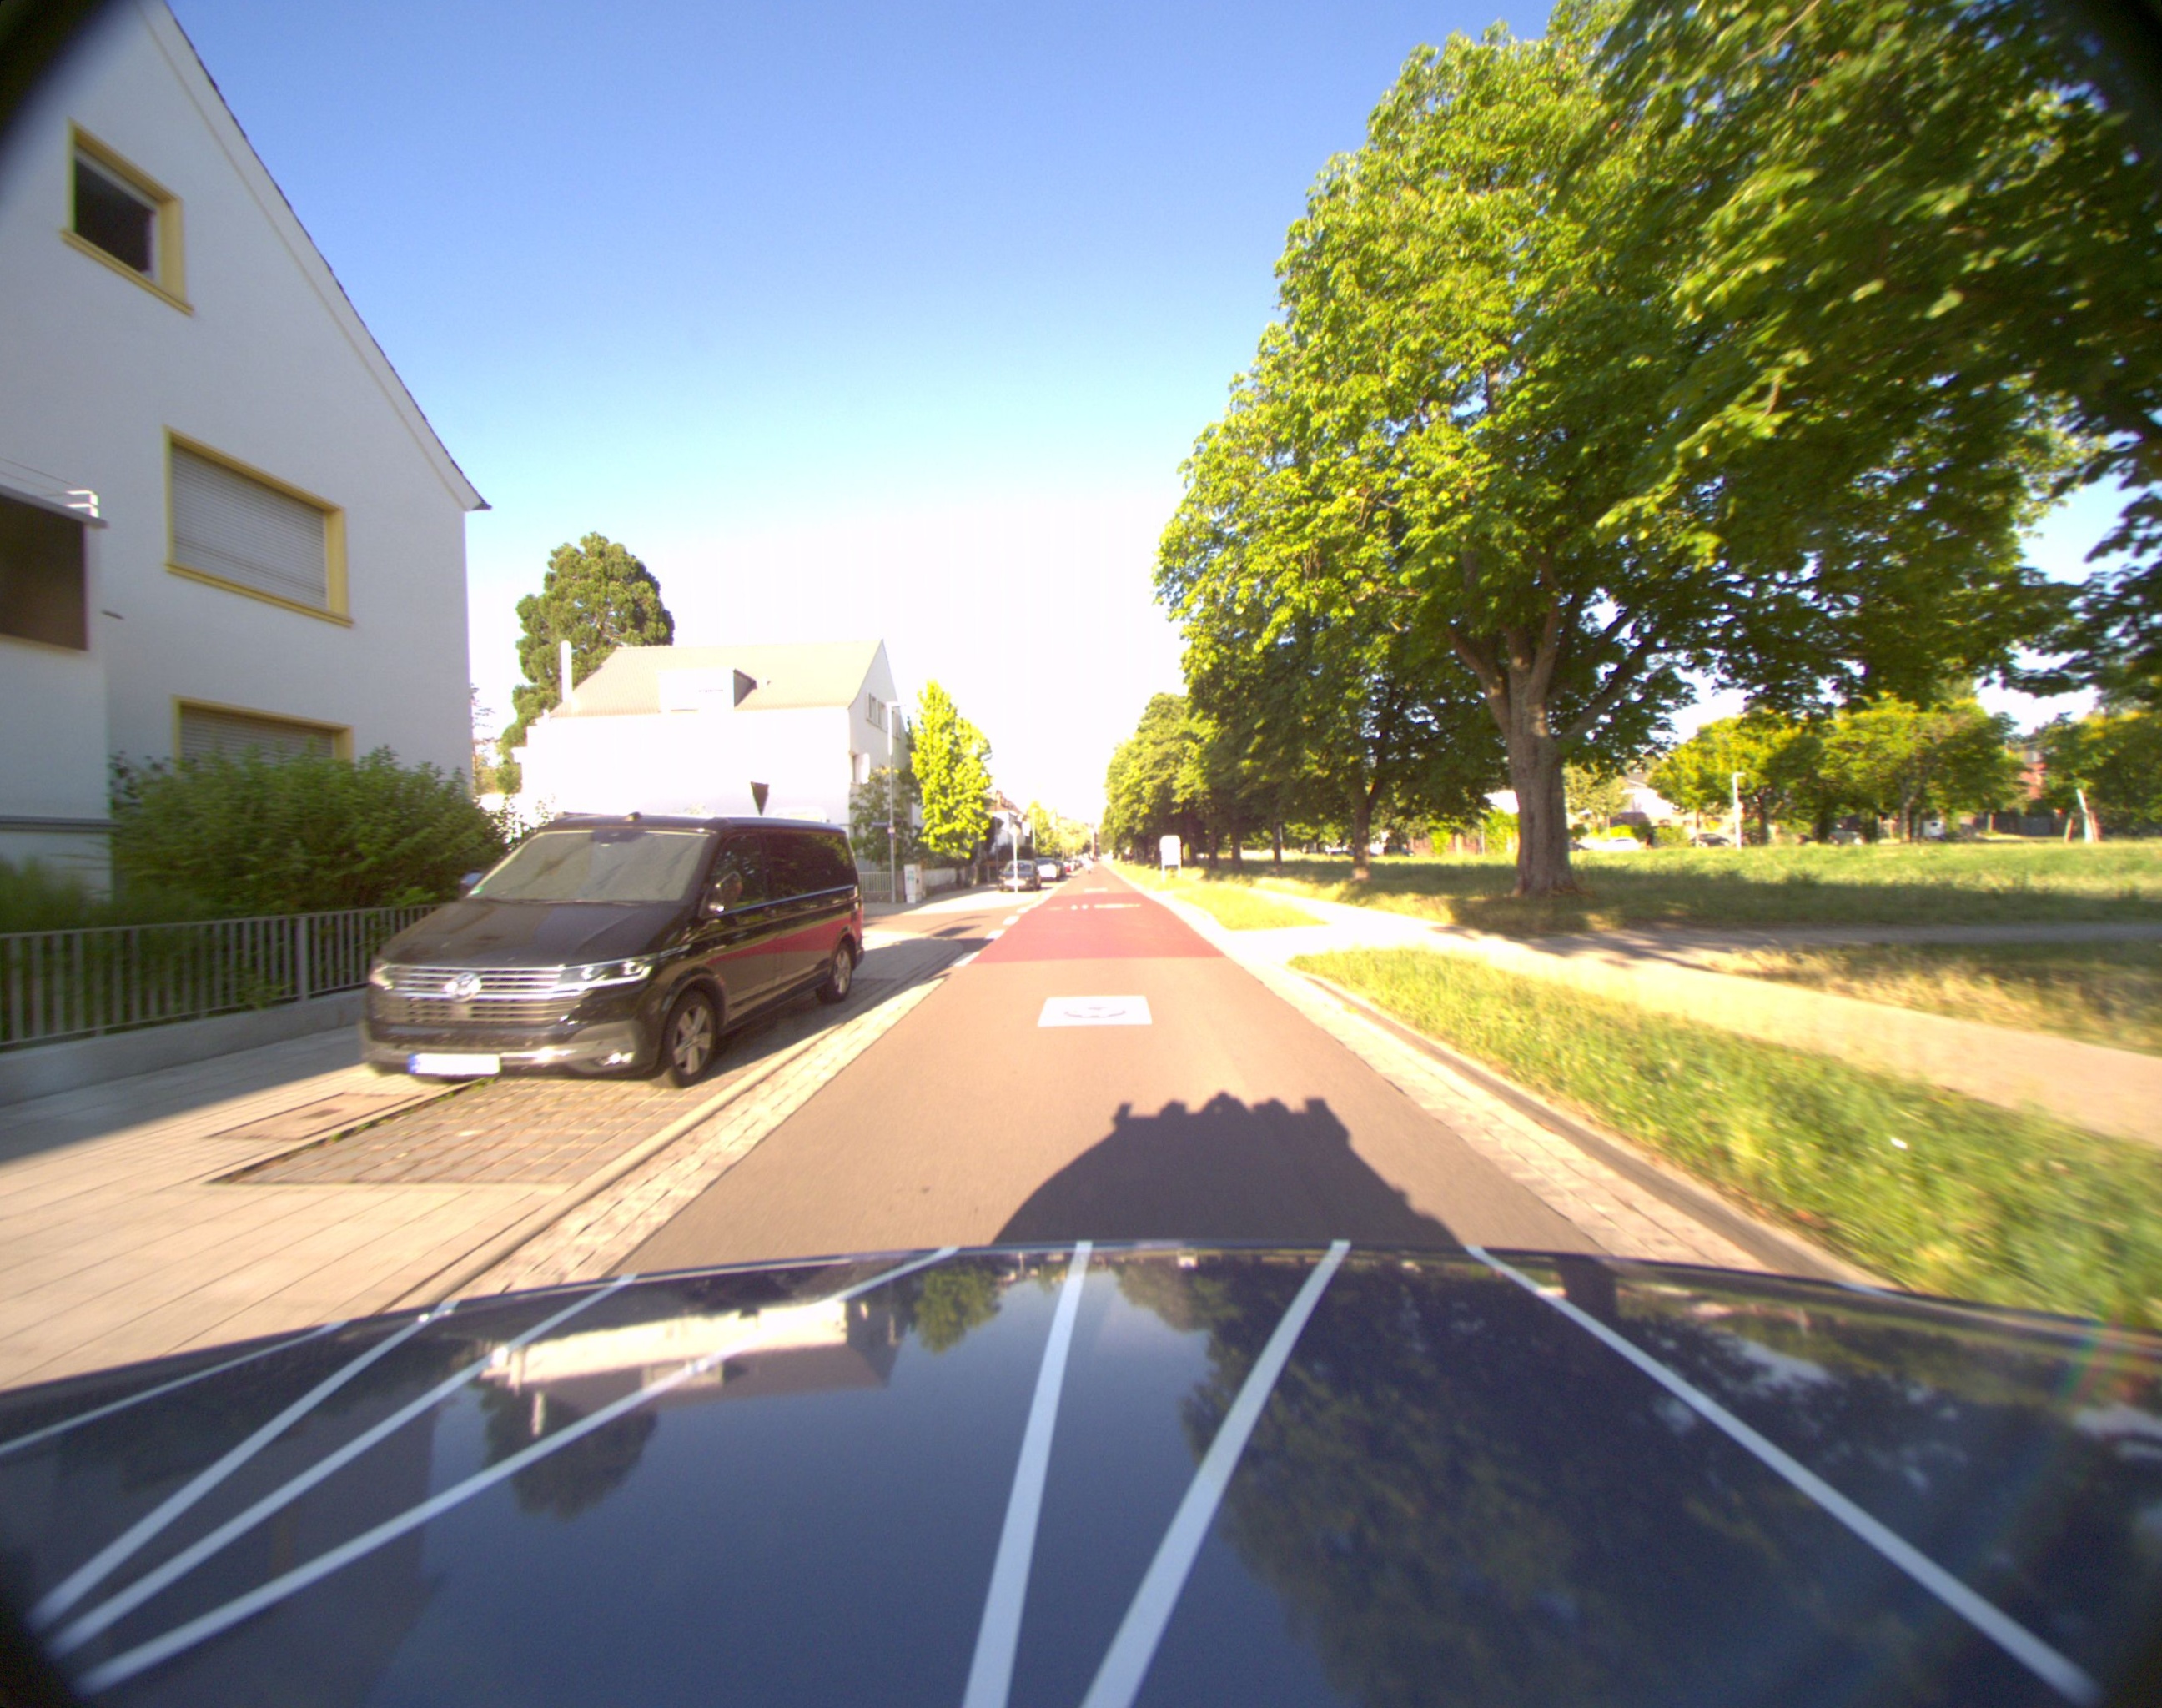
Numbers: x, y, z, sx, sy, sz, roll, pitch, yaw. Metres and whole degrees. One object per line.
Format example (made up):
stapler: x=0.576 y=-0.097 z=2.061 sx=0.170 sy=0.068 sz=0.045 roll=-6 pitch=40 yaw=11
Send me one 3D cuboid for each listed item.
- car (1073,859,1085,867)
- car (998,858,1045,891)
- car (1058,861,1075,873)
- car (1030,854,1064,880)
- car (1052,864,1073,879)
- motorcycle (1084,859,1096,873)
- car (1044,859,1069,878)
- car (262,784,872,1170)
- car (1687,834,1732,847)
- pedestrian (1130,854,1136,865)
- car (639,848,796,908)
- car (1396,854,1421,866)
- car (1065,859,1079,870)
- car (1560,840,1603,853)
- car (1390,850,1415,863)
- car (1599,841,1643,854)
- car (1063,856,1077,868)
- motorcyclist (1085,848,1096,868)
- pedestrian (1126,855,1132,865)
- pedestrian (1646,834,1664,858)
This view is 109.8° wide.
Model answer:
car: x=-0.390 y=1.689 z=140.487 sx=1.843 sy=1.471 sz=3.765 roll=-2 pitch=0 yaw=5
car: x=-2.830 y=1.004 z=36.772 sx=1.798 sy=1.473 sz=4.125 roll=1 pitch=-1 yaw=2
car: x=-1.605 y=1.396 z=84.257 sx=1.702 sy=1.250 sz=3.880 roll=-1 pitch=0 yaw=1
car: x=-2.261 y=0.872 z=51.738 sx=1.910 sy=1.698 sz=4.577 roll=1 pitch=-1 yaw=3
car: x=-1.730 y=1.613 z=70.960 sx=1.798 sy=1.372 sz=4.079 roll=1 pitch=0 yaw=1
motorcycle: x=0.920 y=1.189 z=75.798 sx=1.077 sy=1.373 sz=2.463 roll=-3 pitch=0 yaw=0
car: x=-2.031 y=1.217 z=63.838 sx=1.798 sy=1.485 sz=4.194 roll=1 pitch=0 yaw=1
car: x=-3.529 y=0.701 z=6.630 sx=1.910 sy=2.119 sz=4.815 roll=1 pitch=0 yaw=2
car: x=69.182 y=-1.458 z=83.652 sx=3.636 sy=1.272 sz=1.586 roll=-3 pitch=0 yaw=3
pedestrian: x=8.568 y=0.878 z=124.453 sx=0.625 sy=1.840 sz=0.606 roll=-2 pitch=1 yaw=40
car: x=-11.694 y=0.759 z=24.659 sx=4.100 sy=1.679 sz=1.894 roll=-3 pitch=0 yaw=-1
car: x=44.849 y=0.803 z=104.170 sx=1.766 sy=1.619 sz=4.001 roll=-2 pitch=0 yaw=1
car: x=-1.193 y=1.440 z=103.735 sx=1.745 sy=1.471 sz=4.057 roll=-2 pitch=0 yaw=0
car: x=54.975 y=-0.818 z=83.443 sx=3.636 sy=1.272 sz=1.586 roll=-3 pitch=0 yaw=3
car: x=39.285 y=0.290 z=92.914 sx=1.585 sy=1.473 sz=3.640 roll=-3 pitch=0 yaw=2
car: x=59.252 y=-0.714 z=83.357 sx=3.636 sy=1.272 sz=1.586 roll=-3 pitch=0 yaw=3
car: x=-1.359 y=0.999 z=94.586 sx=1.508 sy=1.471 sz=3.493 roll=0 pitch=0 yaw=2
motorcyclist: x=0.910 y=0.406 z=75.610 sx=0.961 sy=2.002 sz=1.274 roll=-3 pitch=0 yaw=0
pedestrian: x=7.881 y=1.022 z=124.962 sx=0.625 sy=1.621 sz=0.606 roll=-2 pitch=1 yaw=27
pedestrian: x=40.921 y=-0.566 z=54.191 sx=0.778 sy=1.714 sz=0.715 roll=-3 pitch=1 yaw=-27
